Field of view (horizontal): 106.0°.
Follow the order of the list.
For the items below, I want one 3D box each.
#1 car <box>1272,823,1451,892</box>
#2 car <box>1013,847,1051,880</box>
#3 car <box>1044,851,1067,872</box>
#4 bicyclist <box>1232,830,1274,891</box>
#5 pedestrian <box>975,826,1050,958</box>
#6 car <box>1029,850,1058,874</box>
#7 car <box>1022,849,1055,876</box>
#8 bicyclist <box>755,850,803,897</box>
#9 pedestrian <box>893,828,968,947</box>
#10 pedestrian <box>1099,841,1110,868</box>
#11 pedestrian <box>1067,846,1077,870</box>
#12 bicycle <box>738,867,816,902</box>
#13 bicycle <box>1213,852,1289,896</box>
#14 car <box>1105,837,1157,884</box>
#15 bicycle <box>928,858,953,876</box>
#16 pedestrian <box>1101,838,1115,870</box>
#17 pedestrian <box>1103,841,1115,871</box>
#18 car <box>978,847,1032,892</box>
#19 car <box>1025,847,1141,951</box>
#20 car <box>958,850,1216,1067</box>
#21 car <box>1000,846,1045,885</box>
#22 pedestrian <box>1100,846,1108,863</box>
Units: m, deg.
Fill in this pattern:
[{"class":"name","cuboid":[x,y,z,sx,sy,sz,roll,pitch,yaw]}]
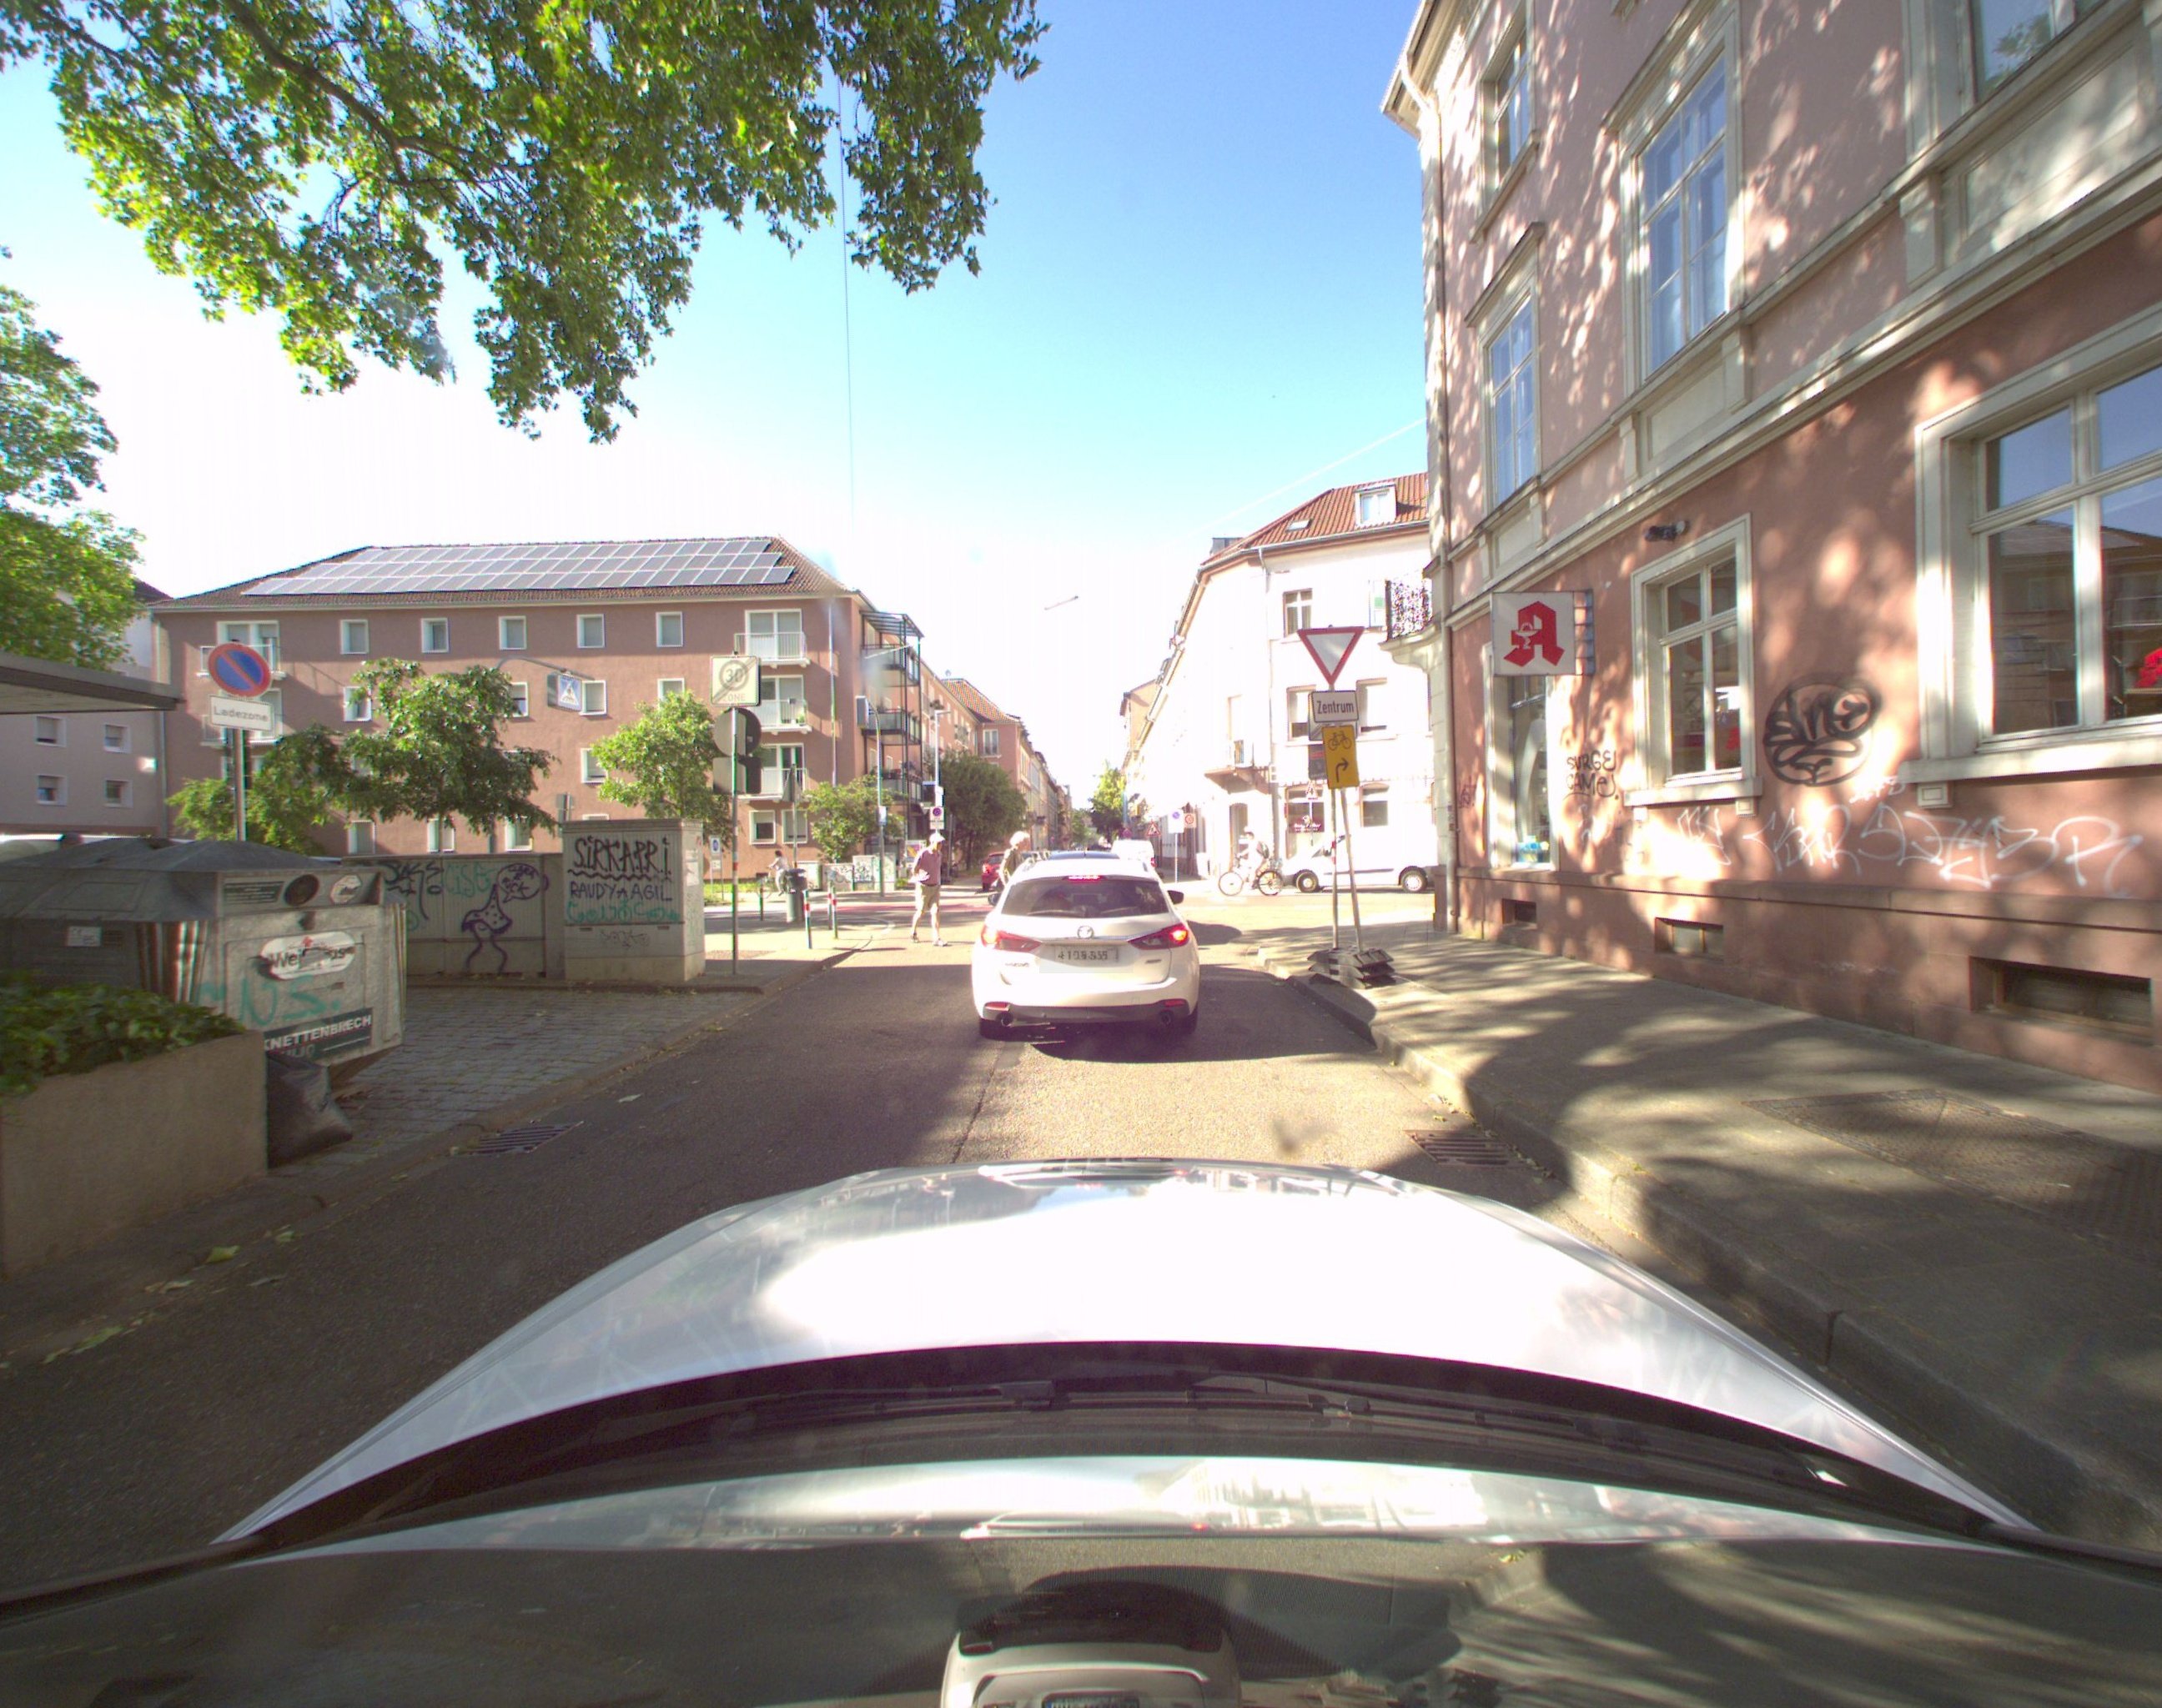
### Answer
[{"class":"car","cuboid":[8.406,0.158,24.446,4.845,1.929,2.011,-1,-2,25]},{"class":"car","cuboid":[-2.600,0.506,43.732,1.629,1.656,3.786,-2,0,2]},{"class":"car","cuboid":[-2.016,0.561,64.838,1.567,1.585,3.612,-2,0,2]},{"class":"bicyclist","cuboid":[4.762,0.182,22.538,1.083,1.644,0.759,-2,-1,12]},{"class":"pedestrian","cuboid":[-0.969,0.522,11.708,0.848,1.815,0.817,-2,1,8]},{"class":"car","cuboid":[-2.493,0.530,54.531,1.596,1.477,3.568,-2,0,2]},{"class":"car","cuboid":[-2.601,0.509,50.519,1.714,1.576,3.727,-2,0,2]},{"class":"bicyclist","cuboid":[-10.109,0.639,27.250,1.186,1.516,0.844,-2,-1,16]},{"class":"pedestrian","cuboid":[-2.431,0.511,13.172,0.957,1.838,0.686,0,2,36]},{"class":"pedestrian","cuboid":[1.911,0.066,65.804,0.768,2.118,0.835,-2,-1,1]},{"class":"pedestrian","cuboid":[-0.650,0.284,60.313,0.645,1.797,0.639,-2,-1,1]},{"class":"bicycle","cuboid":[-10.190,1.015,27.296,2.406,1.080,0.793,-2,-1,15]},{"class":"bicycle","cuboid":[4.708,0.552,22.522,1.994,1.144,0.686,-2,-1,13]},{"class":"car","cuboid":[2.128,0.271,35.807,1.937,1.948,4.076,-1,0,-2]},{"class":"bicycle","cuboid":[-7.597,0.723,43.935,0.607,0.932,1.895,-1,-1,-32]},{"class":"pedestrian","cuboid":[1.667,-0.006,50.329,0.768,1.918,0.835,-2,-1,1]},{"class":"pedestrian","cuboid":[1.859,0.133,53.705,0.768,1.918,0.835,-2,-1,1]},{"class":"car","cuboid":[-2.978,0.573,32.620,1.764,1.588,3.726,-2,1,0]},{"class":"car","cuboid":[0.045,0.655,13.861,1.677,1.481,3.660,-2,0,0]},{"class":"car","cuboid":[0.057,0.734,7.715,1.818,1.514,3.823,-1,0,0]},{"class":"car","cuboid":[-2.693,0.508,38.218,1.714,1.682,3.727,-2,0,2]},{"class":"pedestrian","cuboid":[2.296,0.028,80.494,0.768,1.627,0.835,-2,-1,1]}]
